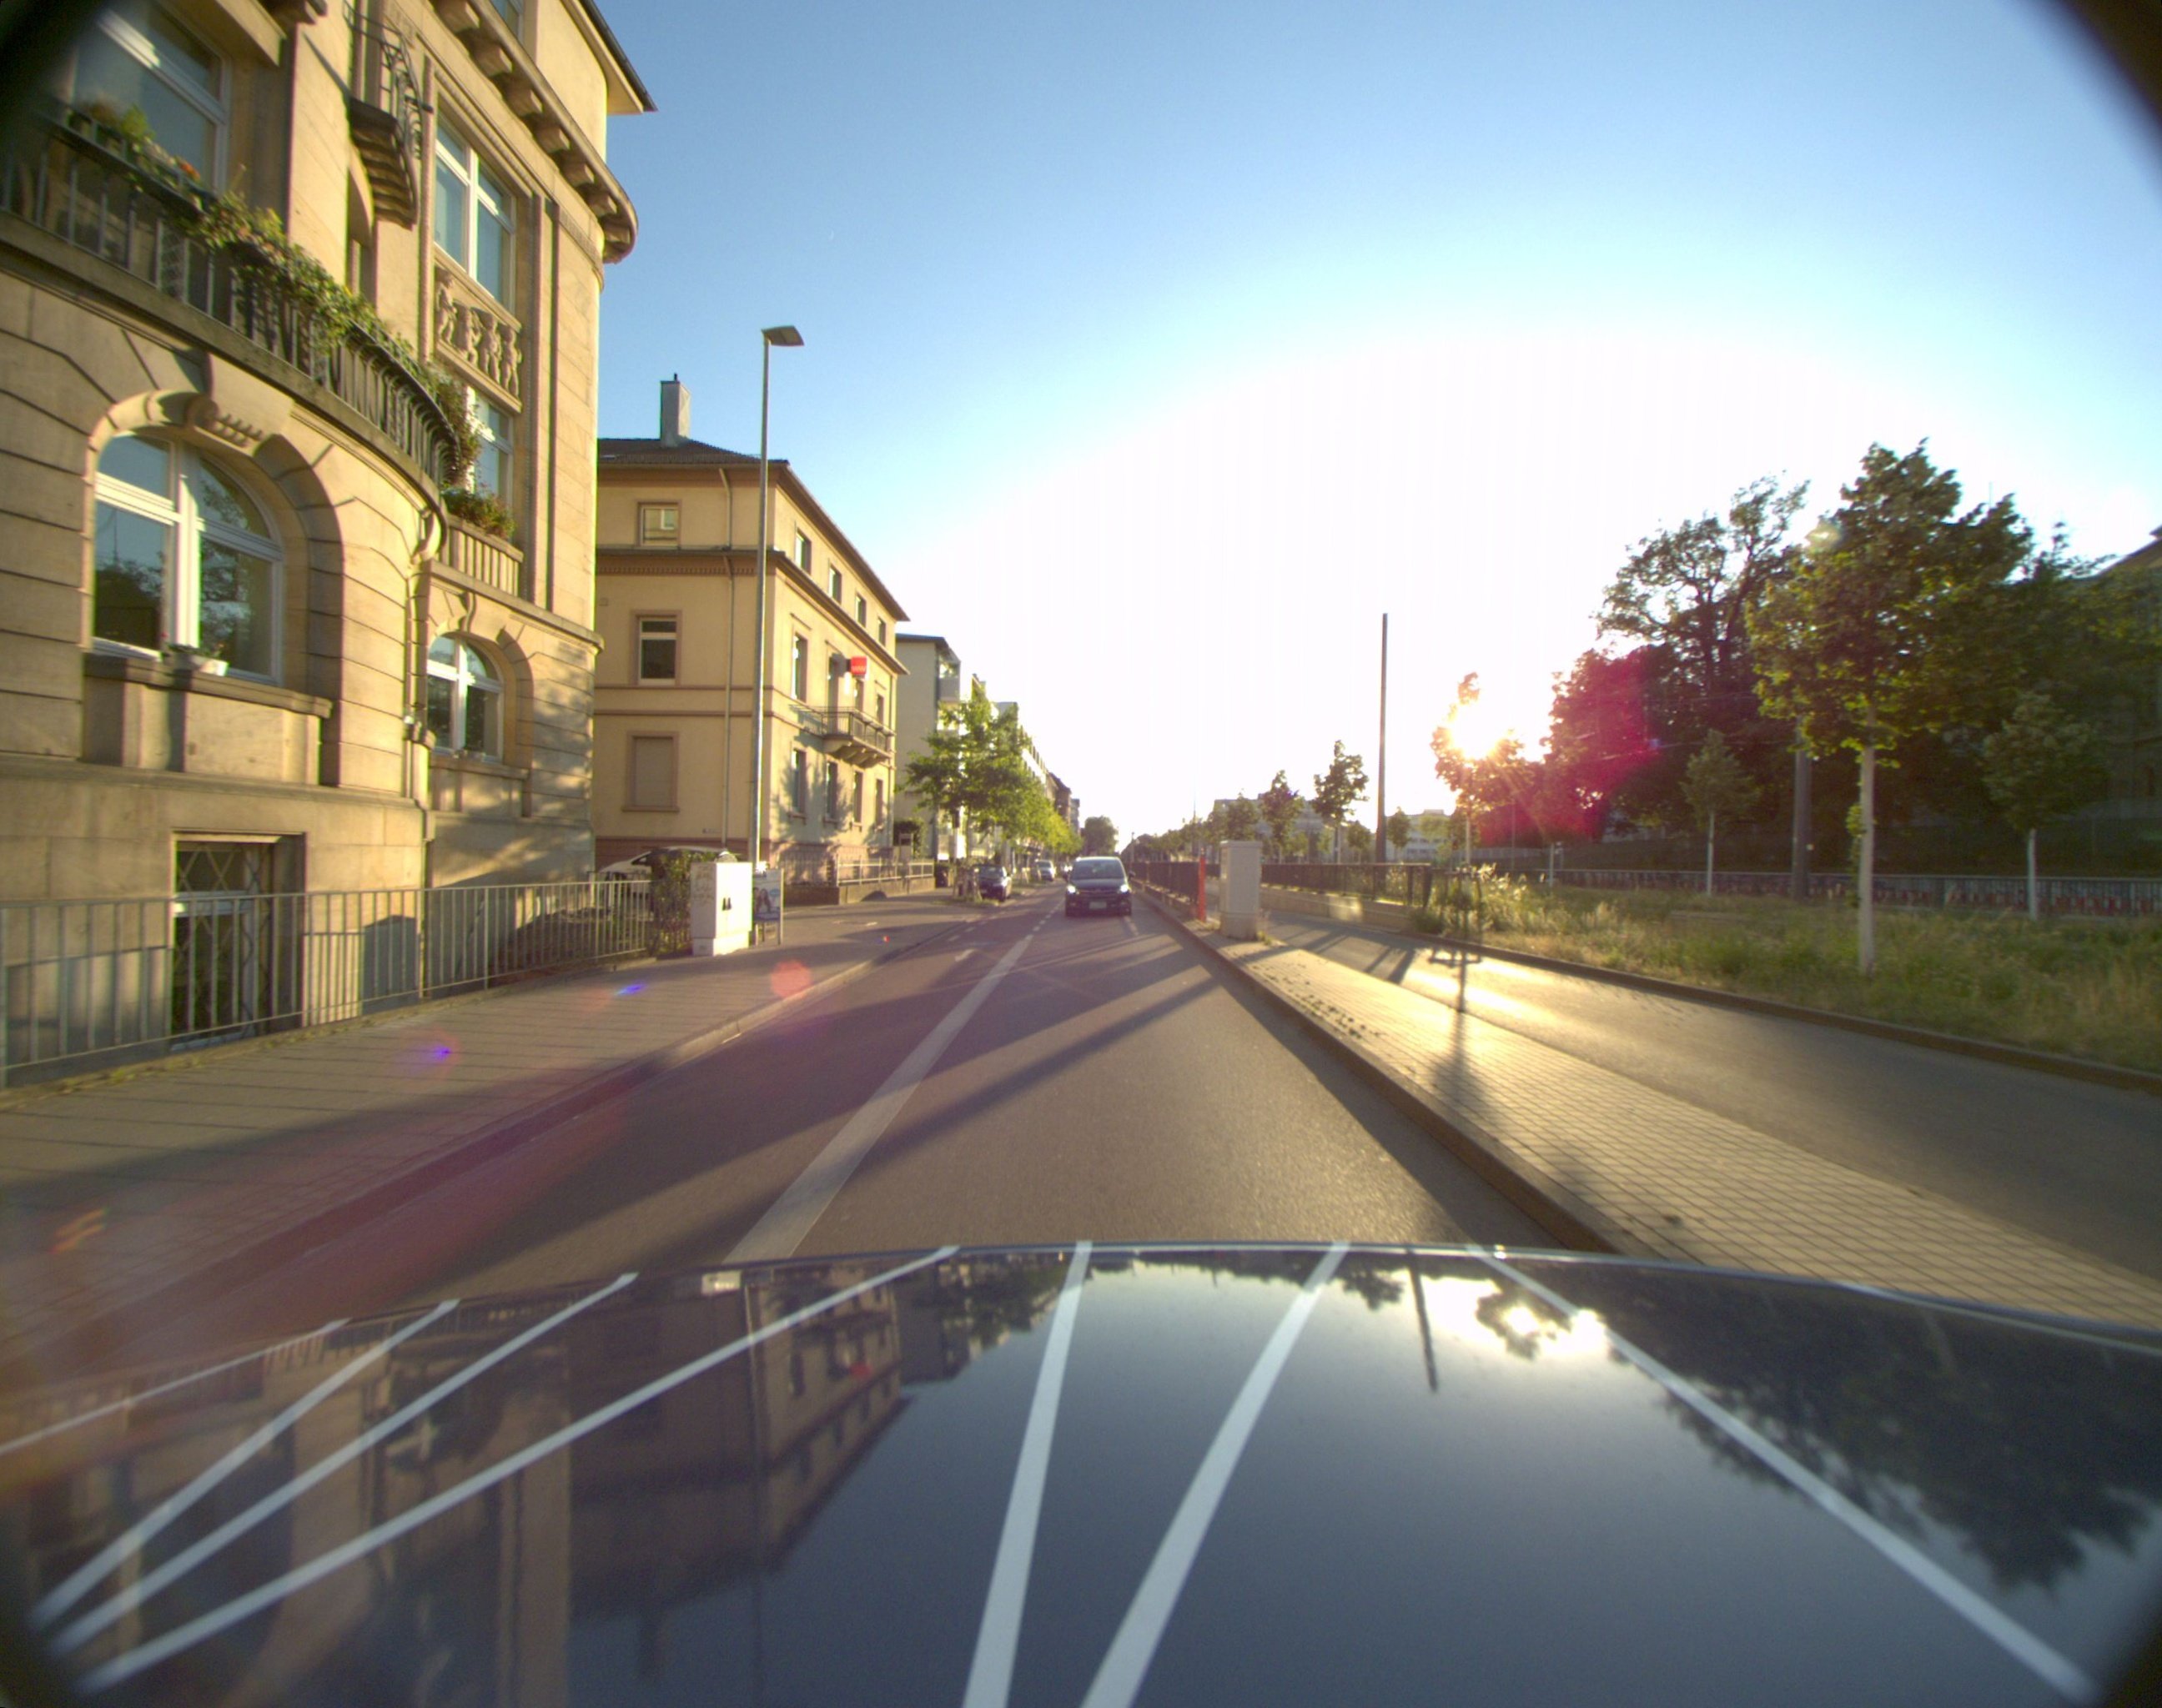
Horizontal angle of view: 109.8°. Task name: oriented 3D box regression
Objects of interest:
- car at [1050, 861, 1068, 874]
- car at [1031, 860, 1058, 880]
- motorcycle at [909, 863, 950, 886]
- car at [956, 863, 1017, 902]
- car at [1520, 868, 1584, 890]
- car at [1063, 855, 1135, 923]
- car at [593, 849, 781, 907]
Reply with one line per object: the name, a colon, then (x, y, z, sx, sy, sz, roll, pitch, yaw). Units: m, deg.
car: (-2.558, 1.507, 88.670, 1.937, 1.472, 4.100, 0, 0, 0)
car: (-2.799, 1.227, 58.807, 1.937, 1.472, 4.100, 0, 0, 0)
motorcycle: (-7.379, 1.007, 36.984, 1.848, 1.090, 0.576, 0, 0, 6)
car: (-3.604, 1.051, 29.732, 1.882, 1.394, 4.100, 0, 0, 0)
car: (33.113, 1.715, 53.573, 1.936, 1.472, 4.525, -1, -1, 4)
car: (0.492, 0.877, 21.633, 1.771, 1.649, 4.852, 1, 0, 1)
car: (-10.556, 0.627, 20.582, 4.097, 1.472, 1.939, 0, 0, 1)
